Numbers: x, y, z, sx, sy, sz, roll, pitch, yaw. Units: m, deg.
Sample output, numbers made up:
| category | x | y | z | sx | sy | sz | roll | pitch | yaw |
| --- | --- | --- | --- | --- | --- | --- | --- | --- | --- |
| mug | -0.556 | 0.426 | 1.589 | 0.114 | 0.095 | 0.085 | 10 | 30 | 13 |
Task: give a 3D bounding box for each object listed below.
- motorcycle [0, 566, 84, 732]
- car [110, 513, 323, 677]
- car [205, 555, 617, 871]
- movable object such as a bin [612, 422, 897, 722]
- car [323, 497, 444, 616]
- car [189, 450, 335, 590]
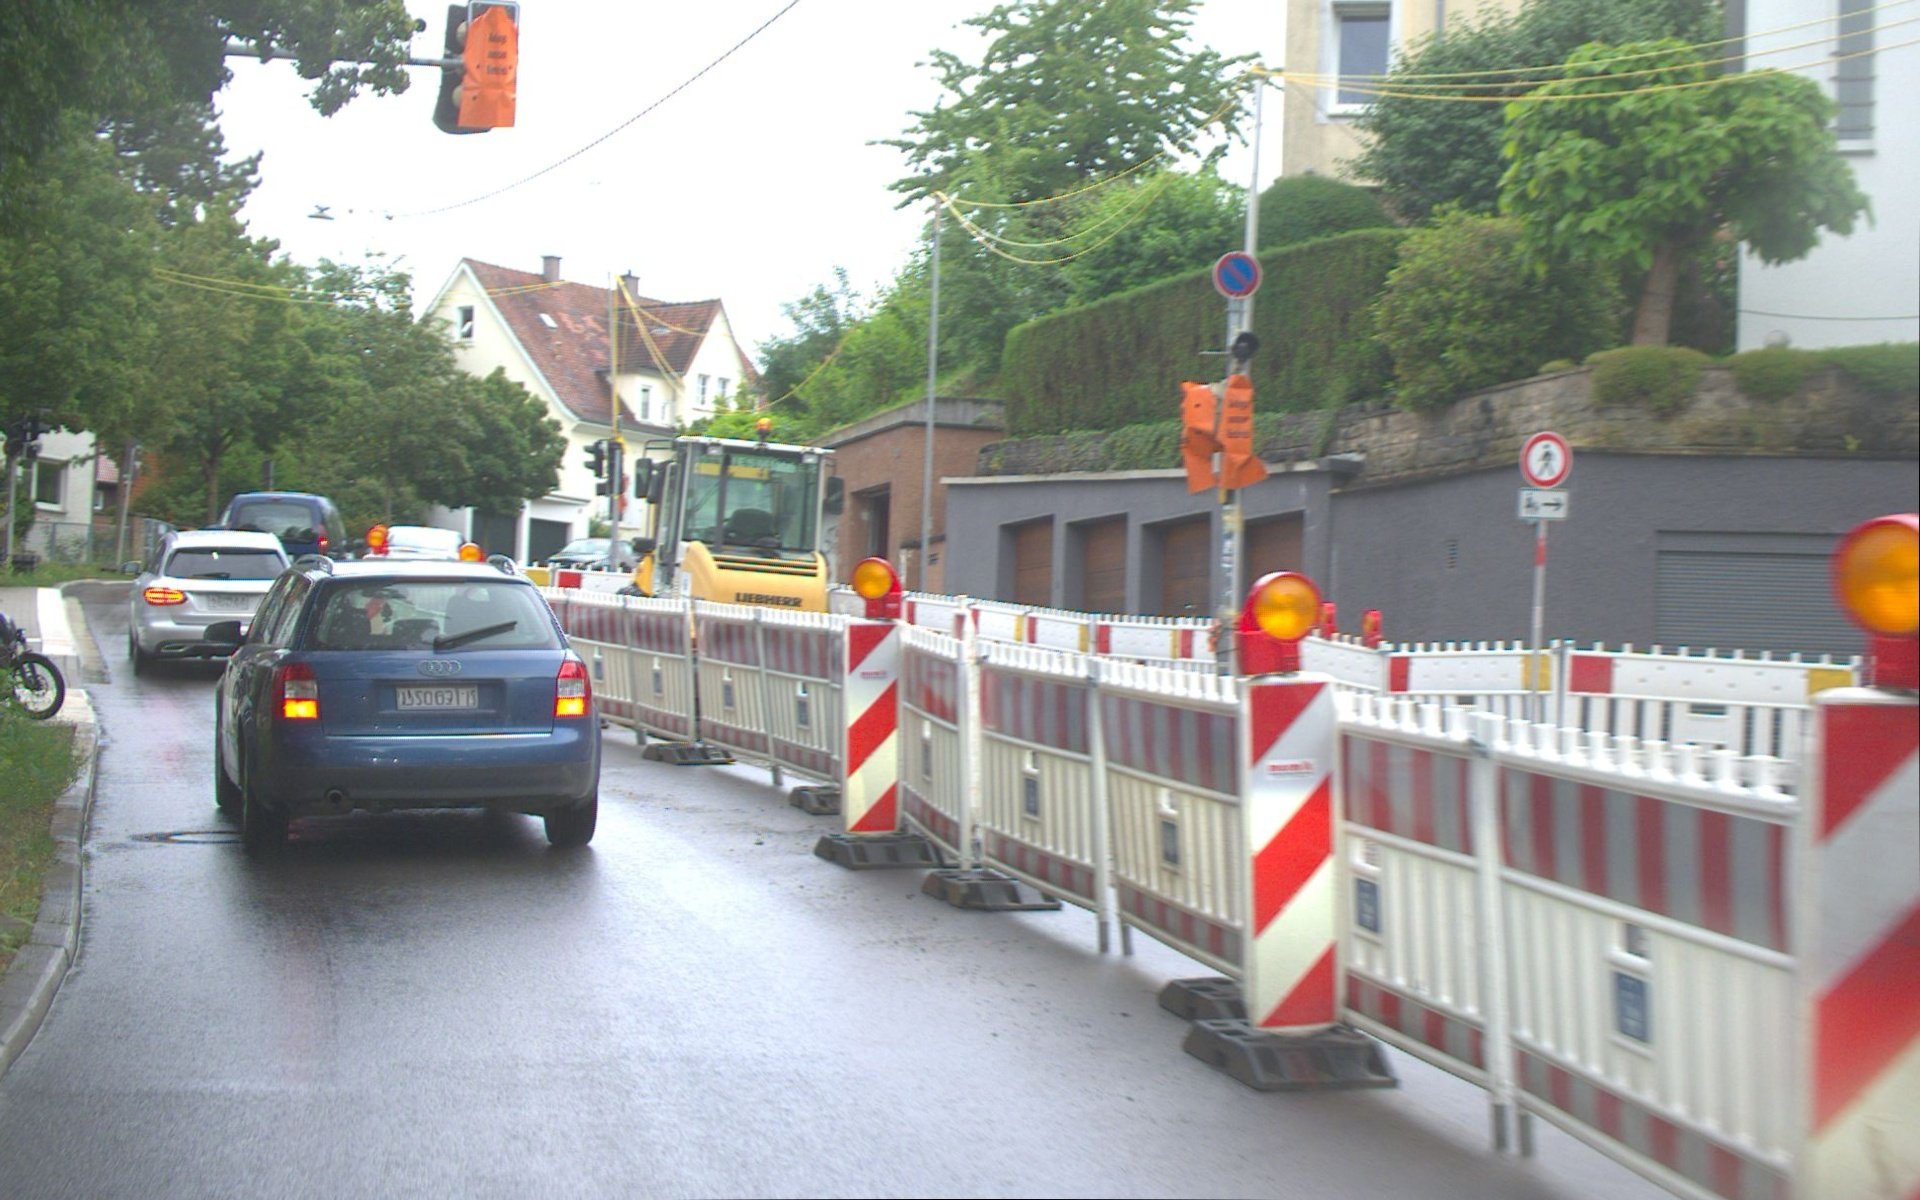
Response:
| category | x | y | z | sx | sy | sz | roll | pitch | yaw |
| --- | --- | --- | --- | --- | --- | --- | --- | --- | --- |
| motorcycle | -7.980 | 0.341 | 25.947 | 2.597 | 1.230 | 0.890 | 2 | -1 | -13 |
| car | -7.847 | -0.034 | 36.025 | 1.925 | 1.612 | 4.321 | 0 | 0 | -15 |
| car | -2.984 | 0.535 | 18.033 | 1.785 | 1.437 | 3.964 | -1 | 0 | -14 |
| movable object such as a bin | -1.986 | -0.328 | 32.002 | 1.993 | 2.604 | 4.002 | 0 | 2 | -13 |
| car | -10.167 | -0.738 | 60.851 | 1.993 | 2.007 | 4.001 | 0 | 0 | -8 |
| car | -10.233 | -1.134 | 50.352 | 1.993 | 1.788 | 4.001 | -1 | -2 | -12 |
